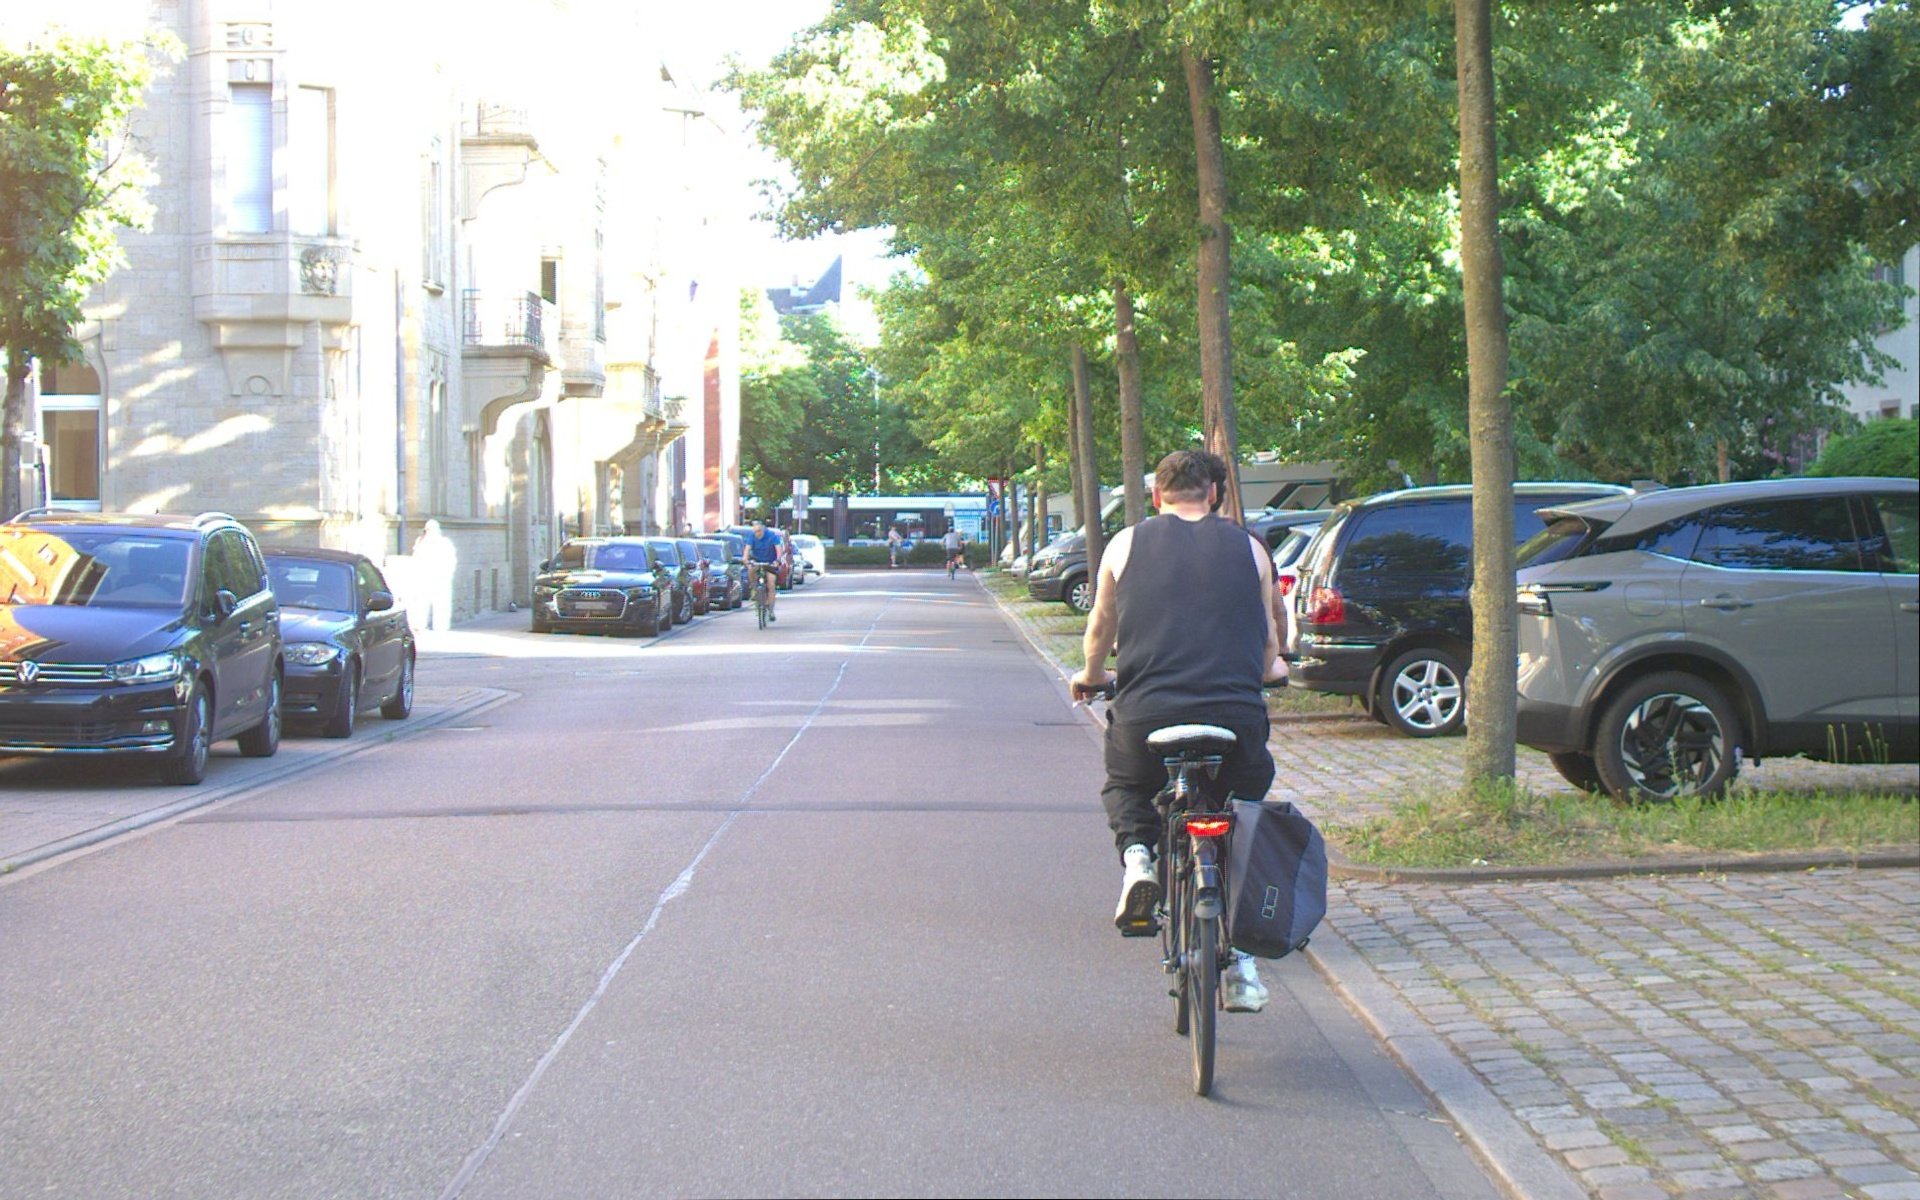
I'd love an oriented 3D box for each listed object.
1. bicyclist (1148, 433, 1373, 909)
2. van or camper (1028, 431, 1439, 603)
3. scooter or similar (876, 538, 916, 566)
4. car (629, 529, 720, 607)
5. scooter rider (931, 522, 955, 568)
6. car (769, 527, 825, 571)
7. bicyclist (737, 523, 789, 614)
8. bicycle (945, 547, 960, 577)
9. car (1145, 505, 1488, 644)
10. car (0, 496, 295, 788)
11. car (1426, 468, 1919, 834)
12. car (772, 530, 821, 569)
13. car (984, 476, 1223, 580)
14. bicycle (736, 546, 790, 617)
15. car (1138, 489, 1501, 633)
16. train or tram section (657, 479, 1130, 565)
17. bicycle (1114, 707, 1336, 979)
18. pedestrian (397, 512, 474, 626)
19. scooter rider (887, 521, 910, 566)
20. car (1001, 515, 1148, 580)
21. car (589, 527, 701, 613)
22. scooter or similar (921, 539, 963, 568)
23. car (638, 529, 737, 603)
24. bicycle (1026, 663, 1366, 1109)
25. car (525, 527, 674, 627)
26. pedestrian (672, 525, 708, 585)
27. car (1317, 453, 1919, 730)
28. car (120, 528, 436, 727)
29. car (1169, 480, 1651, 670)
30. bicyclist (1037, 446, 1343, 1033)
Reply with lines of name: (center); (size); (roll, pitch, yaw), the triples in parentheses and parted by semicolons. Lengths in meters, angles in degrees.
bicyclist: (1.057, 0.235, 12.277); (0.689, 1.621, 0.998); (1, 1, 0)
van or camper: (4.882, -1.498, 62.195); (7.147, 2.638, 2.464); (-3, 1, 2)
scooter or similar: (-2.655, -1.977, 141.825); (1.598, 1.143, 0.678); (1, 0, -5)
car: (-5.565, -0.651, 67.281); (1.628, 1.448, 3.838); (1, 1, -3)
scooter rider: (-0.701, -2.215, 138.575); (0.871, 1.835, 0.671); (1, 0, -5)
car: (-5.335, -1.681, 113.049); (1.583, 1.339, 4.131); (2, 2, 0)
bicyclist: (-3.179, -0.507, 55.489); (0.759, 1.449, 0.949); (-1, 0, -1)
bicycle: (-0.249, -1.321, 118.739); (0.498, 1.002, 1.474); (1, 2, 0)
car: (4.422, -0.336, 43.107); (4.068, 1.471, 1.694); (-3, 2, 1)
car: (-5.442, 0.210, 22.001); (1.669, 1.675, 4.351); (1, 1, -2)
car: (4.779, 0.152, 17.414); (4.475, 1.628, 1.875); (-3, 1, -1)
car: (-6.186, -1.933, 130.408); (1.583, 1.371, 4.131); (2, 2, 0)
car: (4.427, -2.244, 106.930); (7.146, 2.968, 2.465); (-2, 1, -3)
bicycle: (-3.169, -0.302, 55.445); (0.757, 1.104, 1.907); (-1, 0, -1)
car: (4.736, -0.527, 45.752); (4.619, 1.704, 1.833); (-2, 1, 1)
train or tram section: (-3.168, -3.843, 172.900); (23.799, 3.696, 4.287); (1, 0, -22)
bicycle: (0.922, 0.836, 12.344); (0.633, 0.796, 1.833); (-1, 1, 0)
pedestrian: (-7.450, -0.451, 48.870); (0.888, 1.571, 1.053); (-2, 2, 0)
scooter rider: (-2.550, -2.322, 141.831); (0.871, 1.835, 0.671); (1, 0, -5)
car: (3.320, -1.523, 99.840); (4.082, 1.644, 1.641); (-3, 1, -2)
car: (-5.446, -0.517, 59.847); (1.696, 1.448, 4.028); (0, 0, -2)
scooter or similar: (-0.723, -1.871, 138.571); (1.598, 1.143, 0.678); (1, 0, -5)
car: (-5.736, -0.744, 72.773); (1.675, 1.425, 4.551); (2, 2, 0)
bicycle: (0.612, 0.736, 9.603); (0.737, 1.050, 1.956); (2, 0, -1)
car: (-5.551, -0.376, 53.479); (1.811, 1.422, 4.898); (2, 1, -1)
pedestrian: (-7.892, -1.311, 100.494); (0.938, 1.736, 0.735); (1, 0, 1)
car: (4.971, -0.095, 24.628); (4.581, 1.671, 1.907); (-3, 1, 2)
car: (-5.365, 0.177, 27.538); (1.635, 1.406, 4.333); (2, 1, 0)
car: (4.584, -0.269, 35.355); (4.538, 1.628, 1.813); (-4, 1, -6)
bicyclist: (0.624, 0.369, 9.601); (0.730, 1.542, 0.884); (2, 0, -1)
